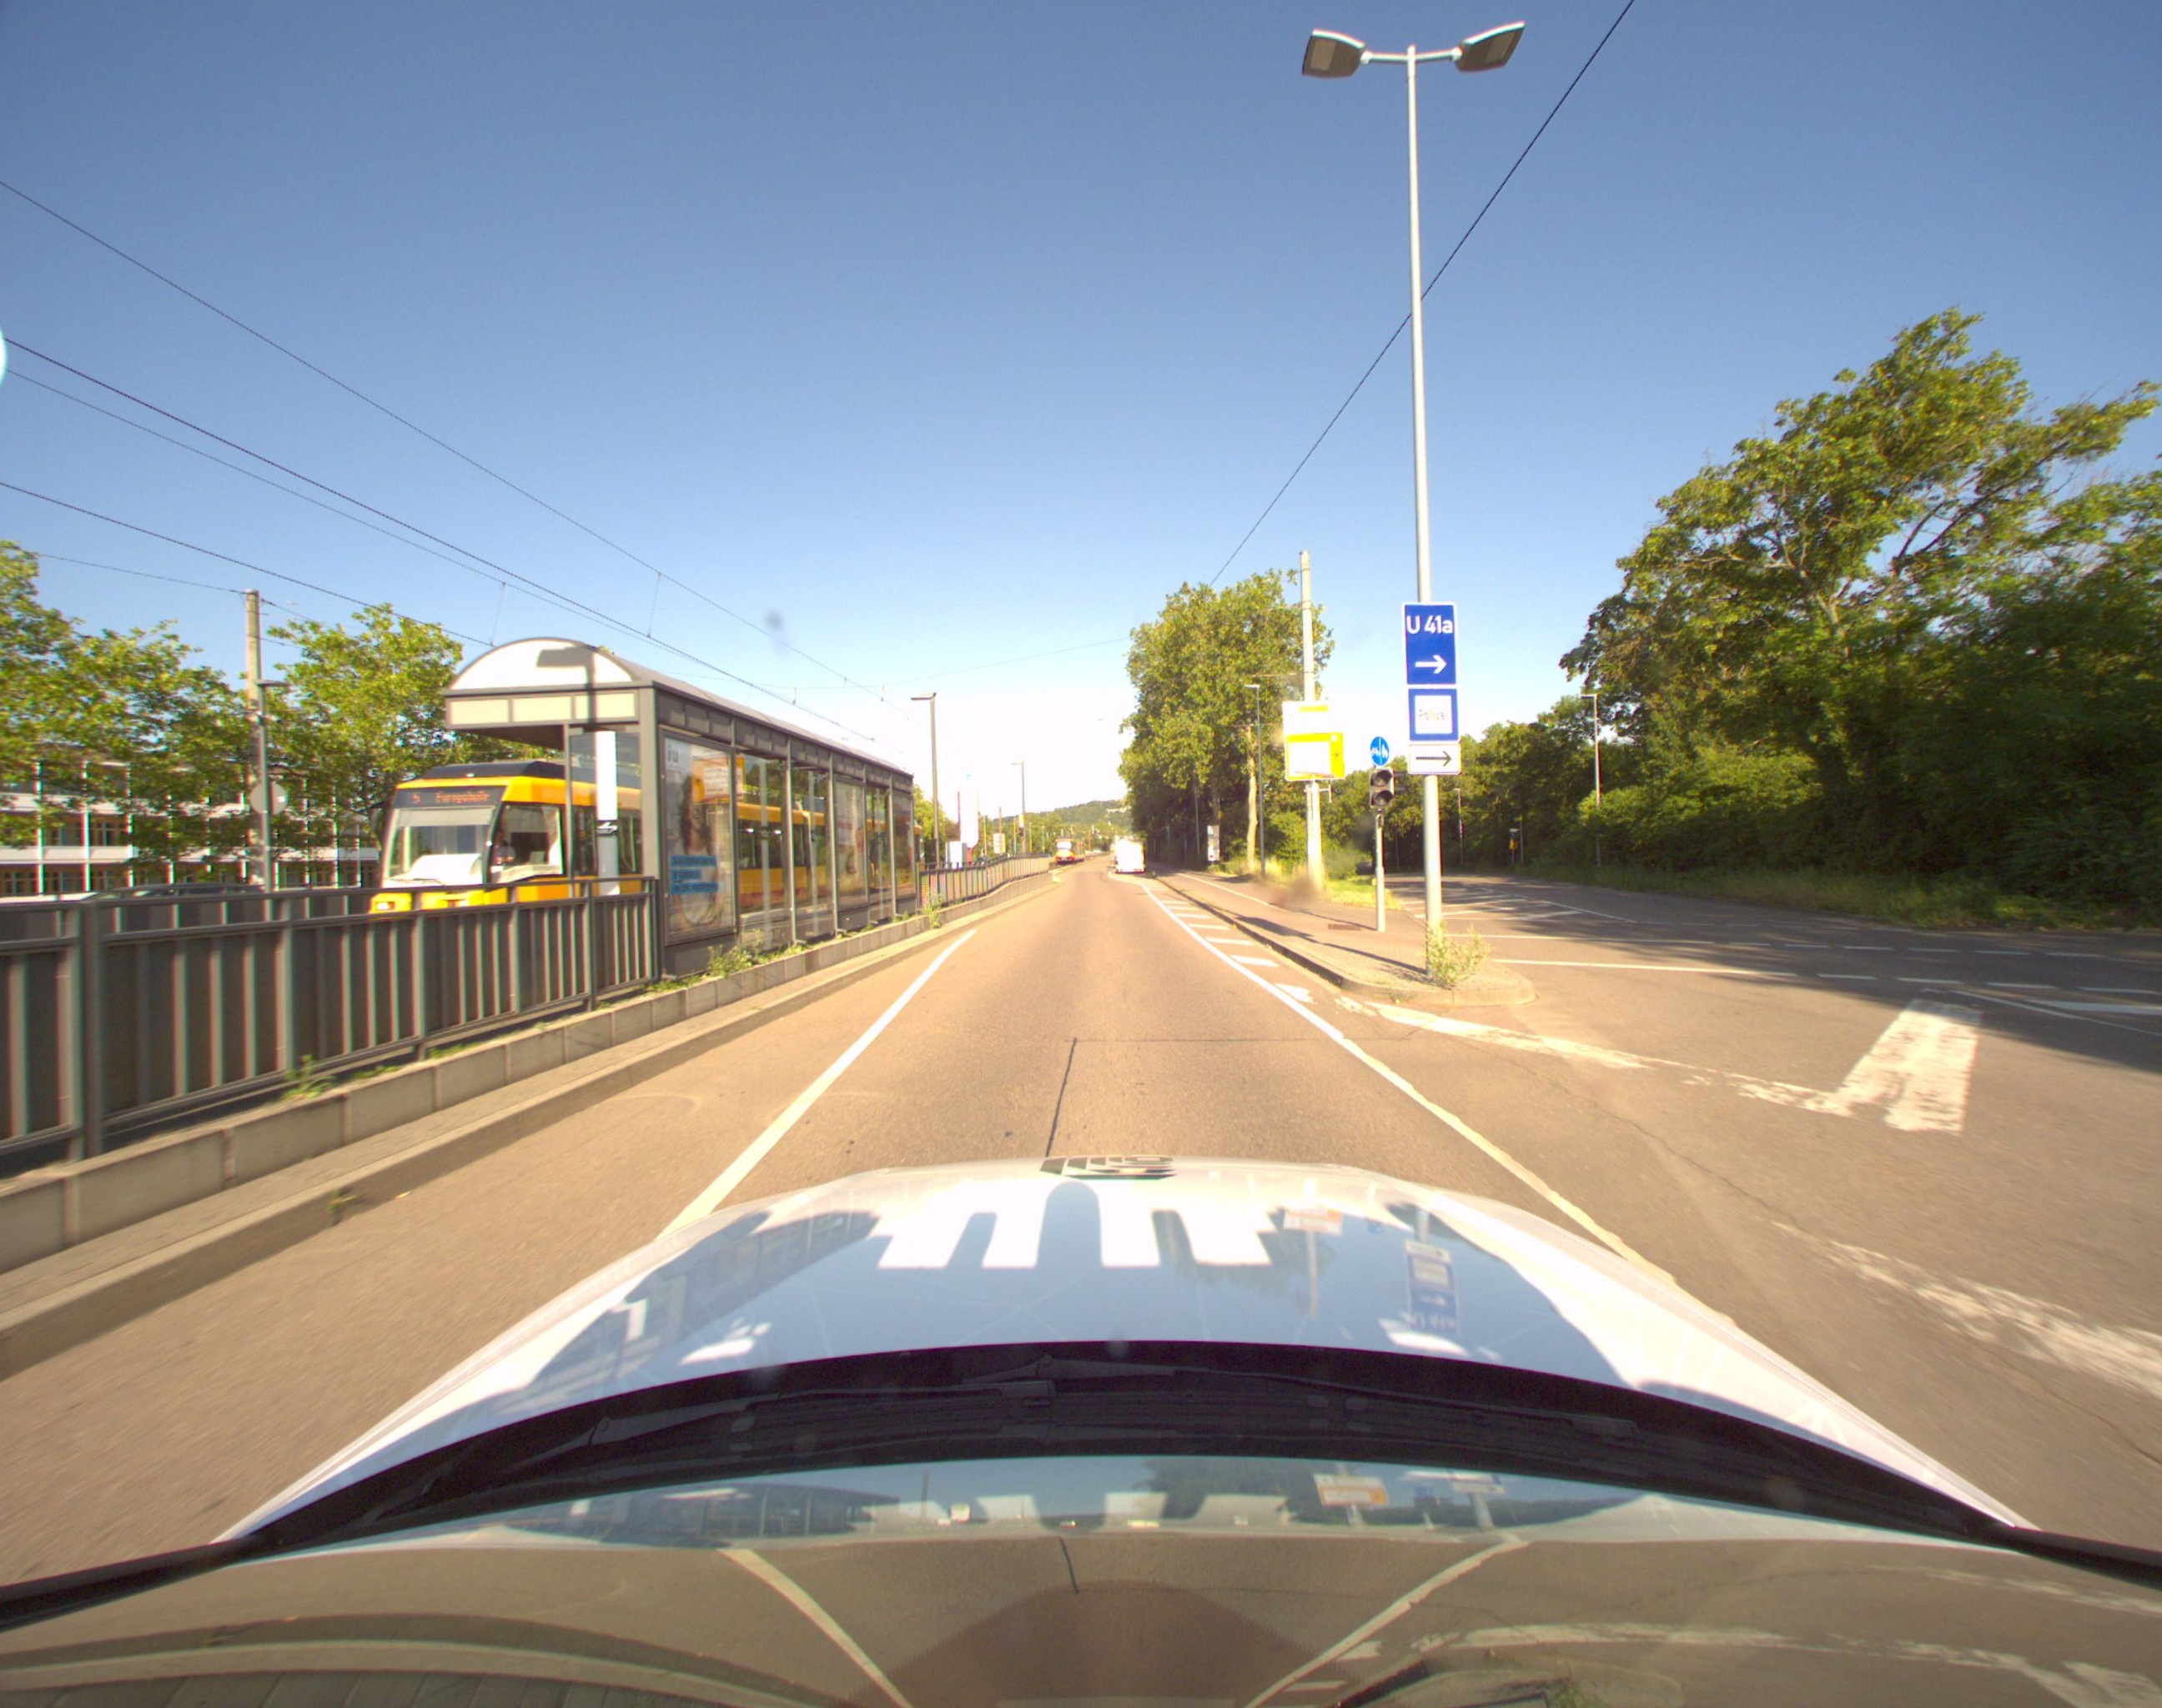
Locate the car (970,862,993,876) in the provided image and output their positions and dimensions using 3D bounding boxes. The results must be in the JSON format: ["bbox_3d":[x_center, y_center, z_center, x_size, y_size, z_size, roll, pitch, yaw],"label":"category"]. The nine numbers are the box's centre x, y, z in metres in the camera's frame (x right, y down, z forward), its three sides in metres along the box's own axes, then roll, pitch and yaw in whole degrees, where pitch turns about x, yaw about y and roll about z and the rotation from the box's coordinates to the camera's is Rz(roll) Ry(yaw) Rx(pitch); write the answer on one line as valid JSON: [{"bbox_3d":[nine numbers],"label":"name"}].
[{"bbox_3d":[-11.740,1.713,96.298,1.985,1.561,4.547,-1,0,3],"label":"car"}]

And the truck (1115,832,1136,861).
[{"bbox_3d":[6.050,-1.005,112.713,2.731,3.783,10.095,0,0,2],"label":"truck"}]

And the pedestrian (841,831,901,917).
[{"bbox_3d":[-3.772,0.342,14.643,0.752,1.493,0.699,-1,0,36],"label":"pedestrian"}]

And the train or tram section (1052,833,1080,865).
[{"bbox_3d":[-1.981,-0.667,113.866,2.710,4.091,13.626,-3,0,3],"label":"train or tram section"}]

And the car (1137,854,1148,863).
[{"bbox_3d":[9.857,0.755,131.052,1.645,1.437,3.781,-1,0,4],"label":"car"}]

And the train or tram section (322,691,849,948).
[{"bbox_3d":[-10.078,-0.531,20.726,2.815,4.006,15.889,-1,0,4],"label":"train or tram section"}]

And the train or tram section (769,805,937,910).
[{"bbox_3d":[-9.179,0.125,35.153,2.815,3.687,12.981,-1,0,4],"label":"train or tram section"}]

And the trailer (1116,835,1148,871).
[{"bbox_3d":[4.126,-0.103,64.888,2.240,2.694,5.956,-1,0,6],"label":"trailer"}]
